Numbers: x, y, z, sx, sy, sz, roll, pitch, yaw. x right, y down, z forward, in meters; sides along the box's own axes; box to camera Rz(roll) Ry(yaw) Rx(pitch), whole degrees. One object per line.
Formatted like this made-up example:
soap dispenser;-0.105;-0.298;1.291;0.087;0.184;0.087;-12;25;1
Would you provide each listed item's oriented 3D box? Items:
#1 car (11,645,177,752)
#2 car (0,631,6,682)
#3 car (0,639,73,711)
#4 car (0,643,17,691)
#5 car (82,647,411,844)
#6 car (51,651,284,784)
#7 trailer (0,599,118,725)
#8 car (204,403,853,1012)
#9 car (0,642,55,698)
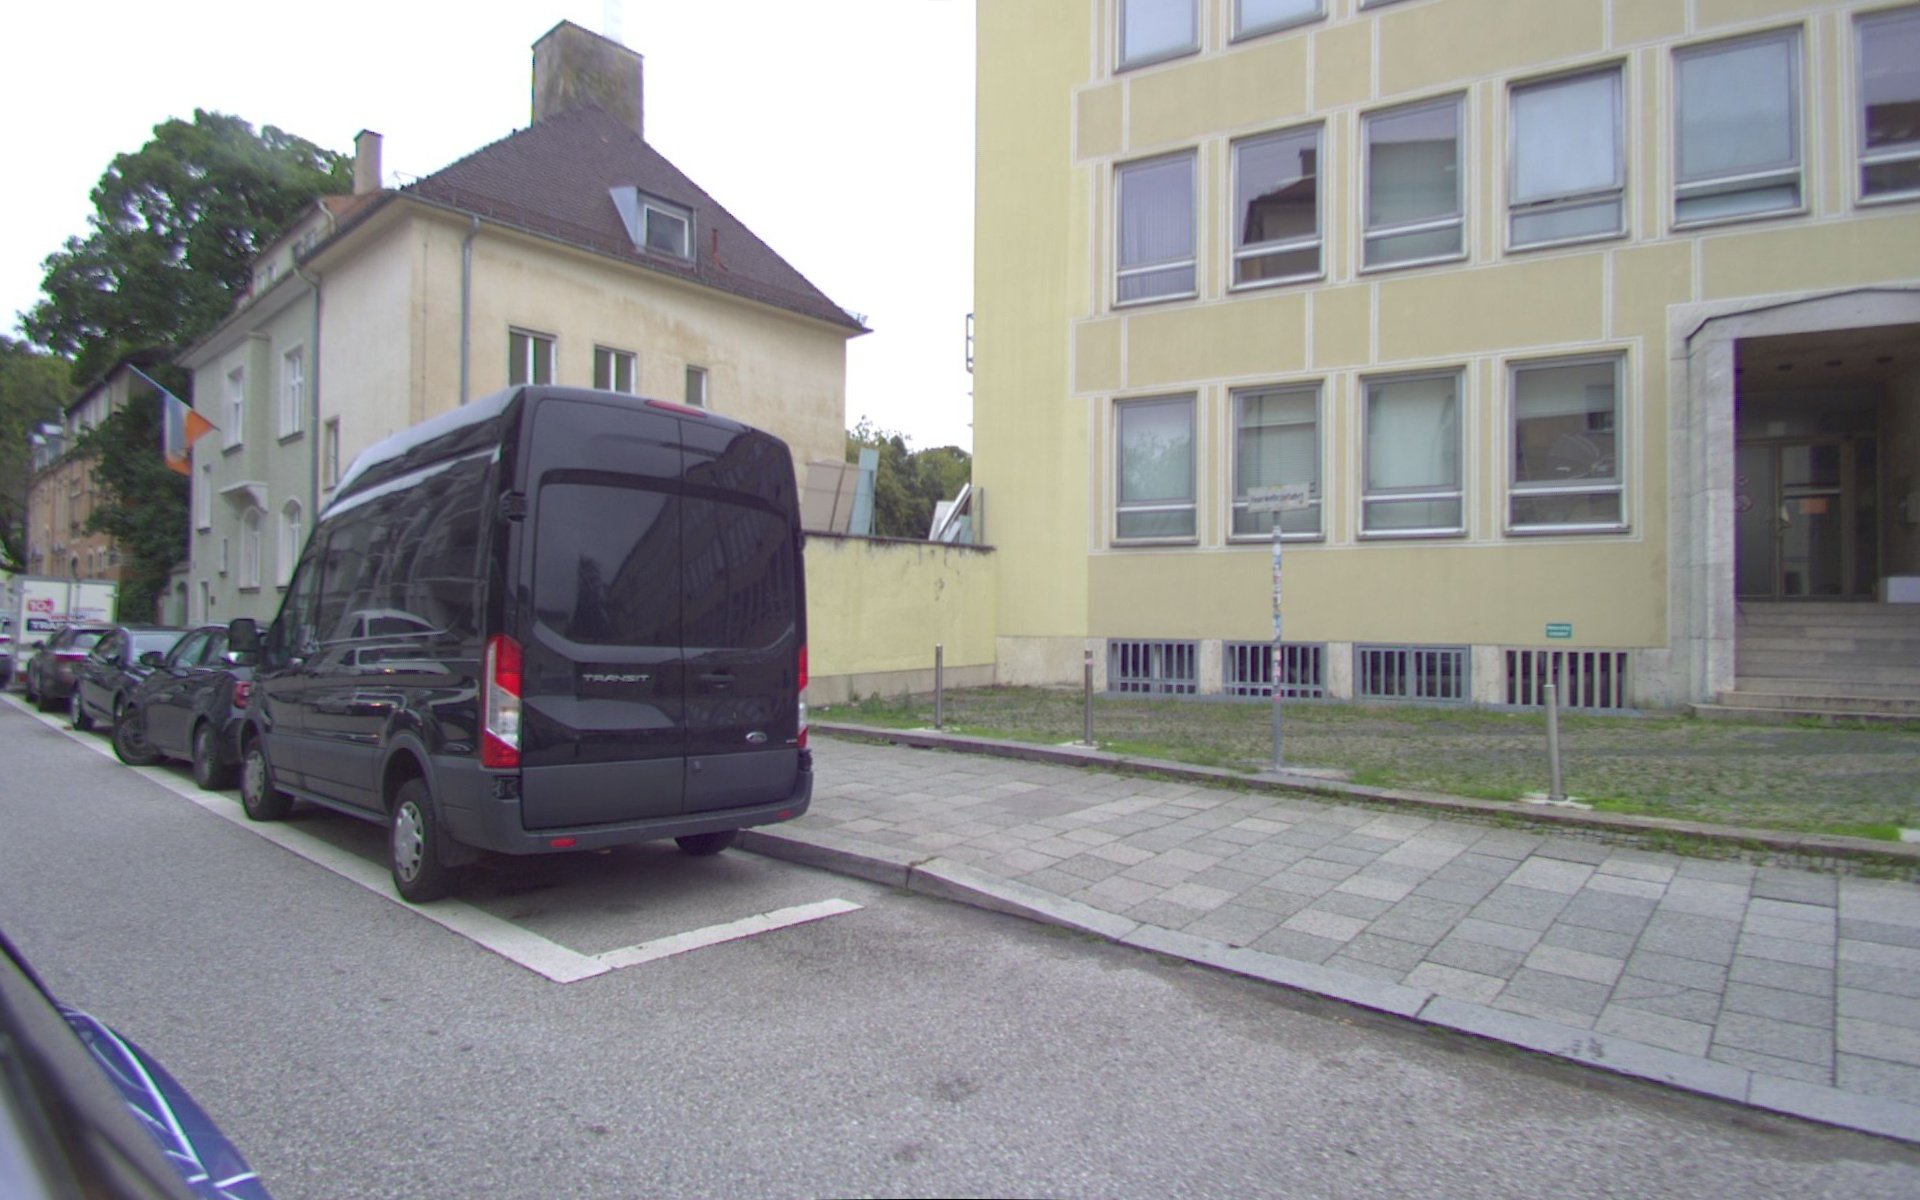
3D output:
car;-15.286;1.625;17.777;4.542;1.550;1.746;-1;-4;44
car;-36.257;2.010;36.884;4.143;1.817;1.672;-1;-4;41
car;-23.676;1.831;25.336;3.920;1.615;1.669;-1;-3;41
car;-31.754;2.124;32.688;3.311;1.478;1.458;-1;-3;40
car;-7.183;1.286;10.102;3.535;1.550;1.572;-1;-1;35
car;-10.680;1.449;13.556;3.821;1.457;1.684;-2;-2;39
trailer;-19.853;1.309;22.128;4.388;2.480;1.690;-2;-4;44
car;-3.310;0.550;7.010;5.375;2.656;2.066;-2;-2;42
car;-27.745;1.971;29.109;4.329;1.423;1.842;0;-3;39
